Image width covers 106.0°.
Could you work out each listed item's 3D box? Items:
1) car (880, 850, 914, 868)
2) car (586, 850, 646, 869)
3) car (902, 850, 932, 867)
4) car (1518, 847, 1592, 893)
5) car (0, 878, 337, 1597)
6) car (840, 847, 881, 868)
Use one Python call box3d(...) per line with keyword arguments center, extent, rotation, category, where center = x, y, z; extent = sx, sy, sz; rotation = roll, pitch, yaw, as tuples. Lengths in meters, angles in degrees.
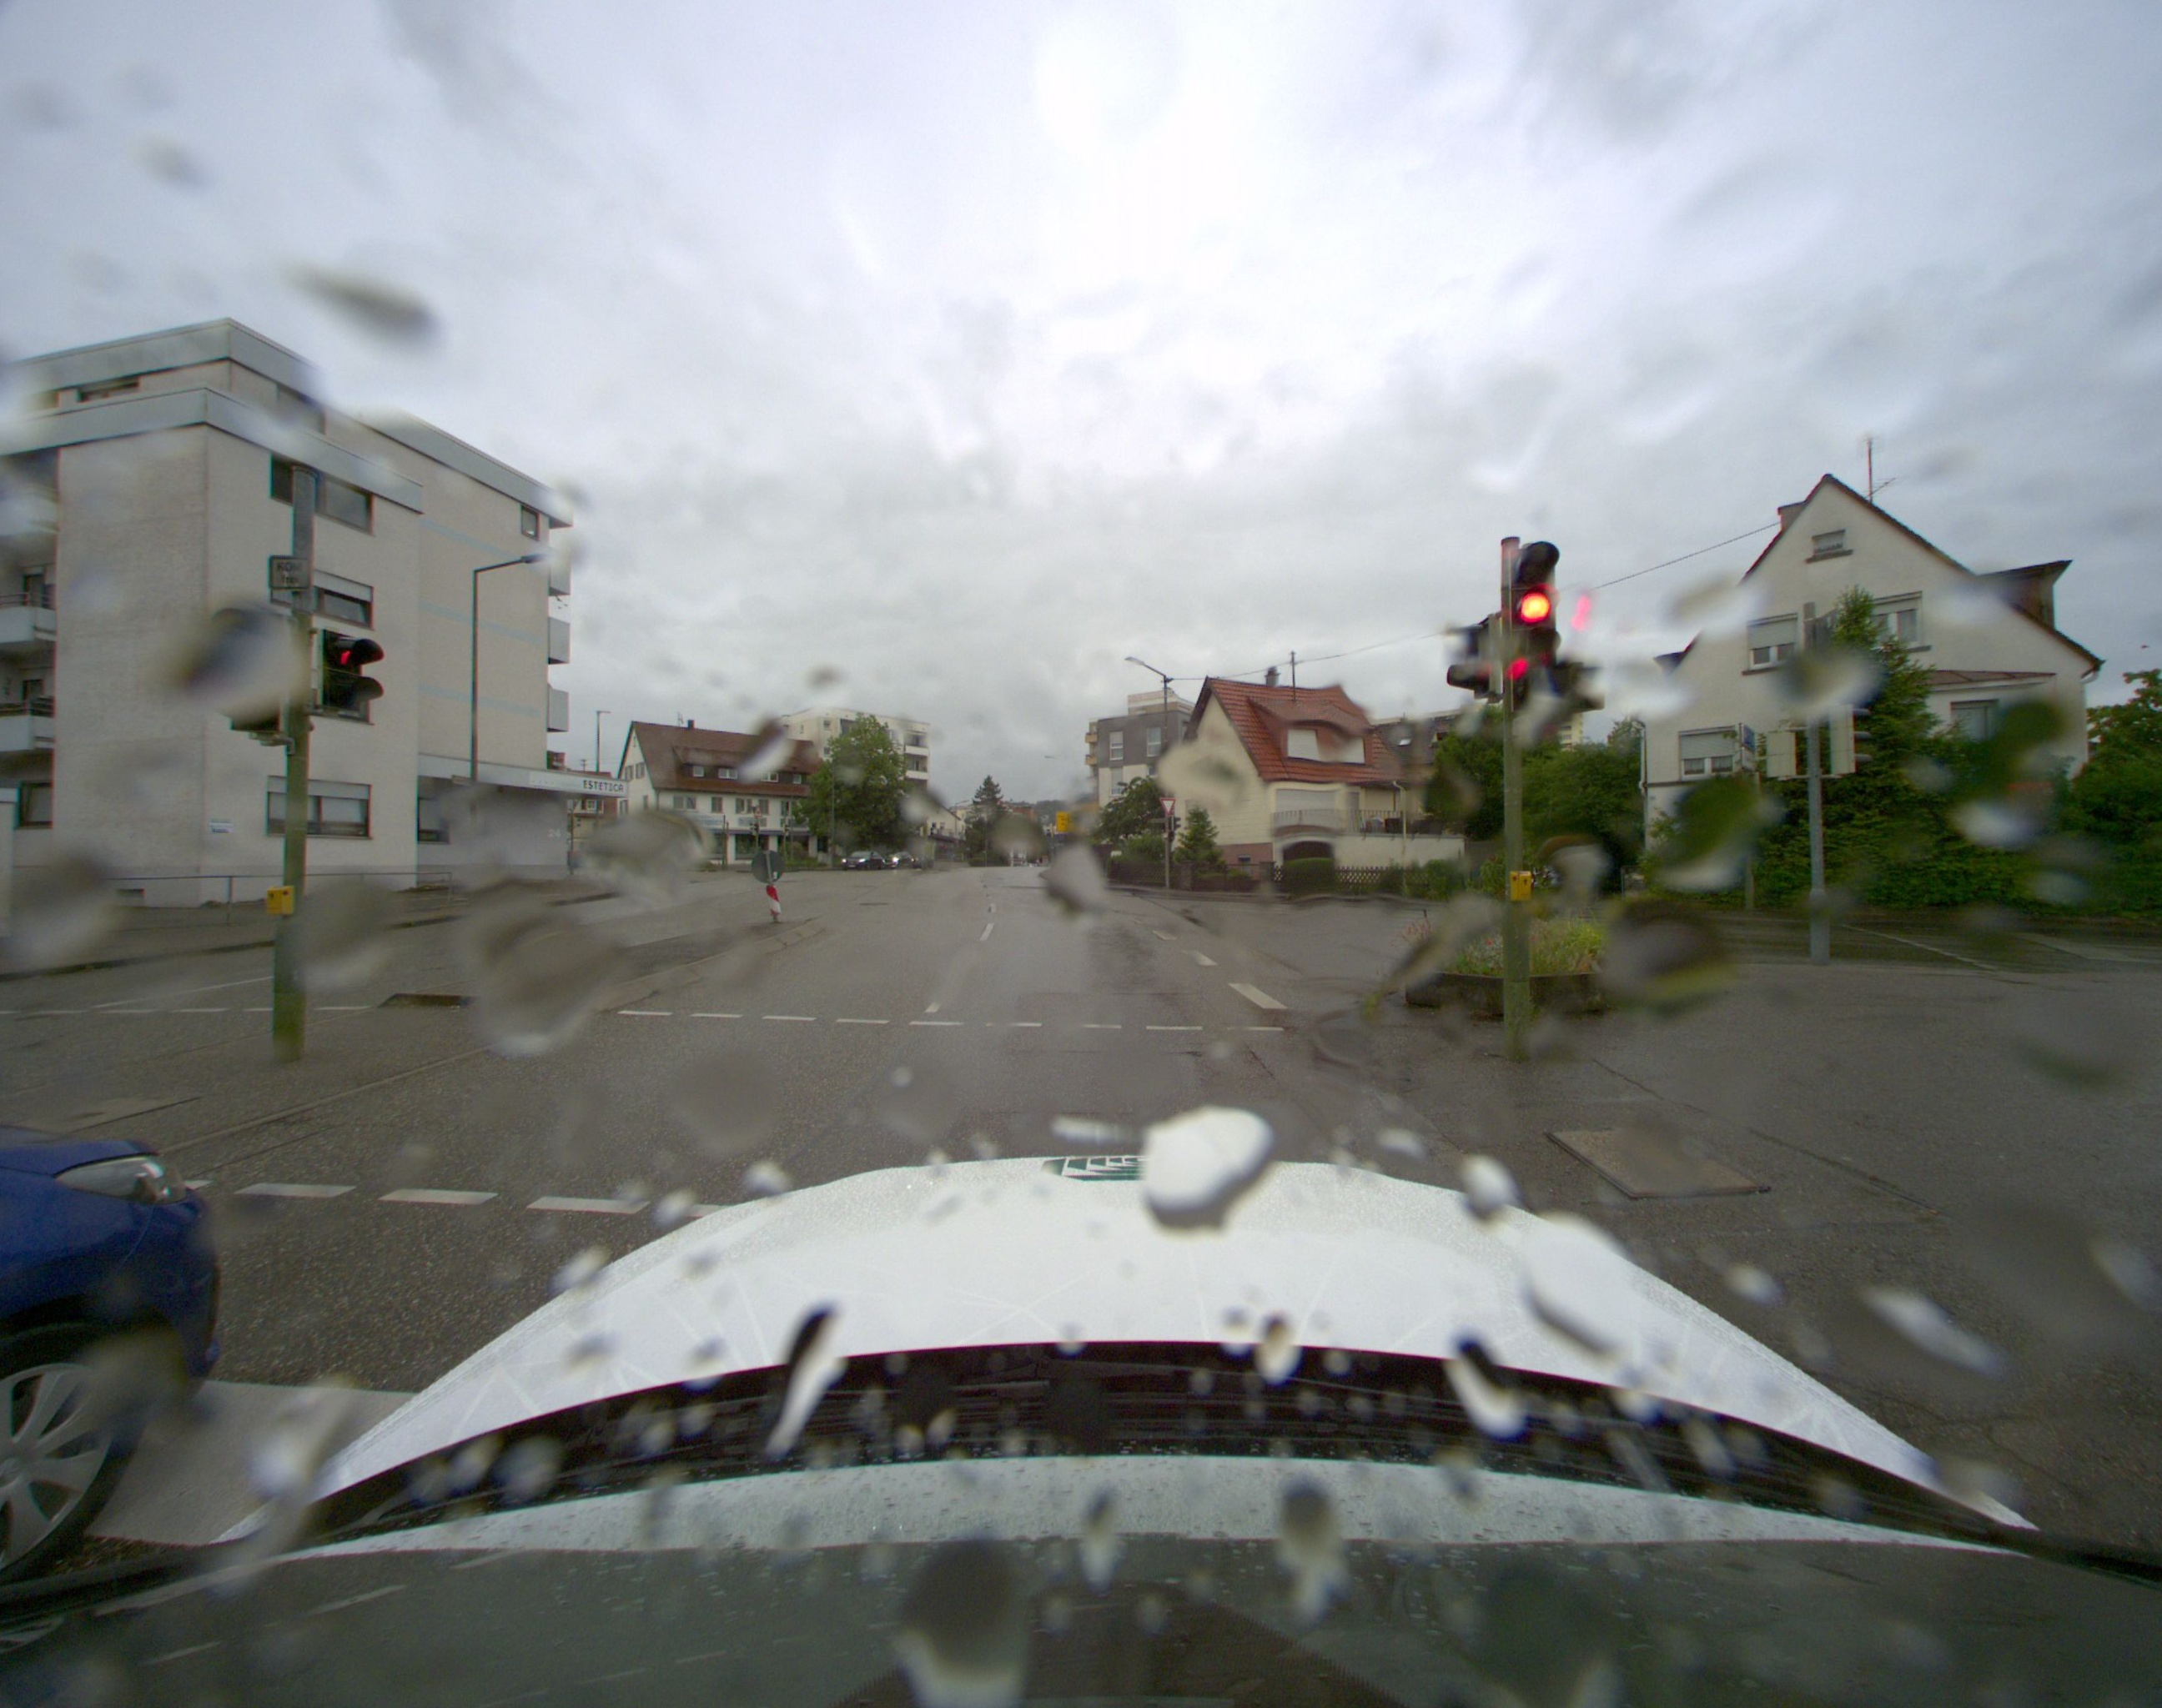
box3d(center=(-14.936, 0.384, 66.198), extent=(1.708, 1.387, 4.022), rotation=(0, 0, 2), category="car")
box3d(center=(-38.315, 0.428, 67.108), extent=(3.988, 1.572, 1.850), rotation=(0, 0, -42), category="car")
box3d(center=(-14.472, 0.381, 71.941), extent=(1.772, 1.420, 3.832), rotation=(0, 0, 2), category="car")
box3d(center=(17.101, 0.521, 29.300), extent=(1.723, 1.514, 4.025), rotation=(0, 0, 39), category="car")
box3d(center=(-2.981, 0.782, 0.711), extent=(1.572, 1.410, 3.272), rotation=(0, 0, 2), category="car")
box3d(center=(-15.871, 0.223, 58.748), extent=(1.772, 1.420, 3.832), rotation=(0, 0, 2), category="car")
